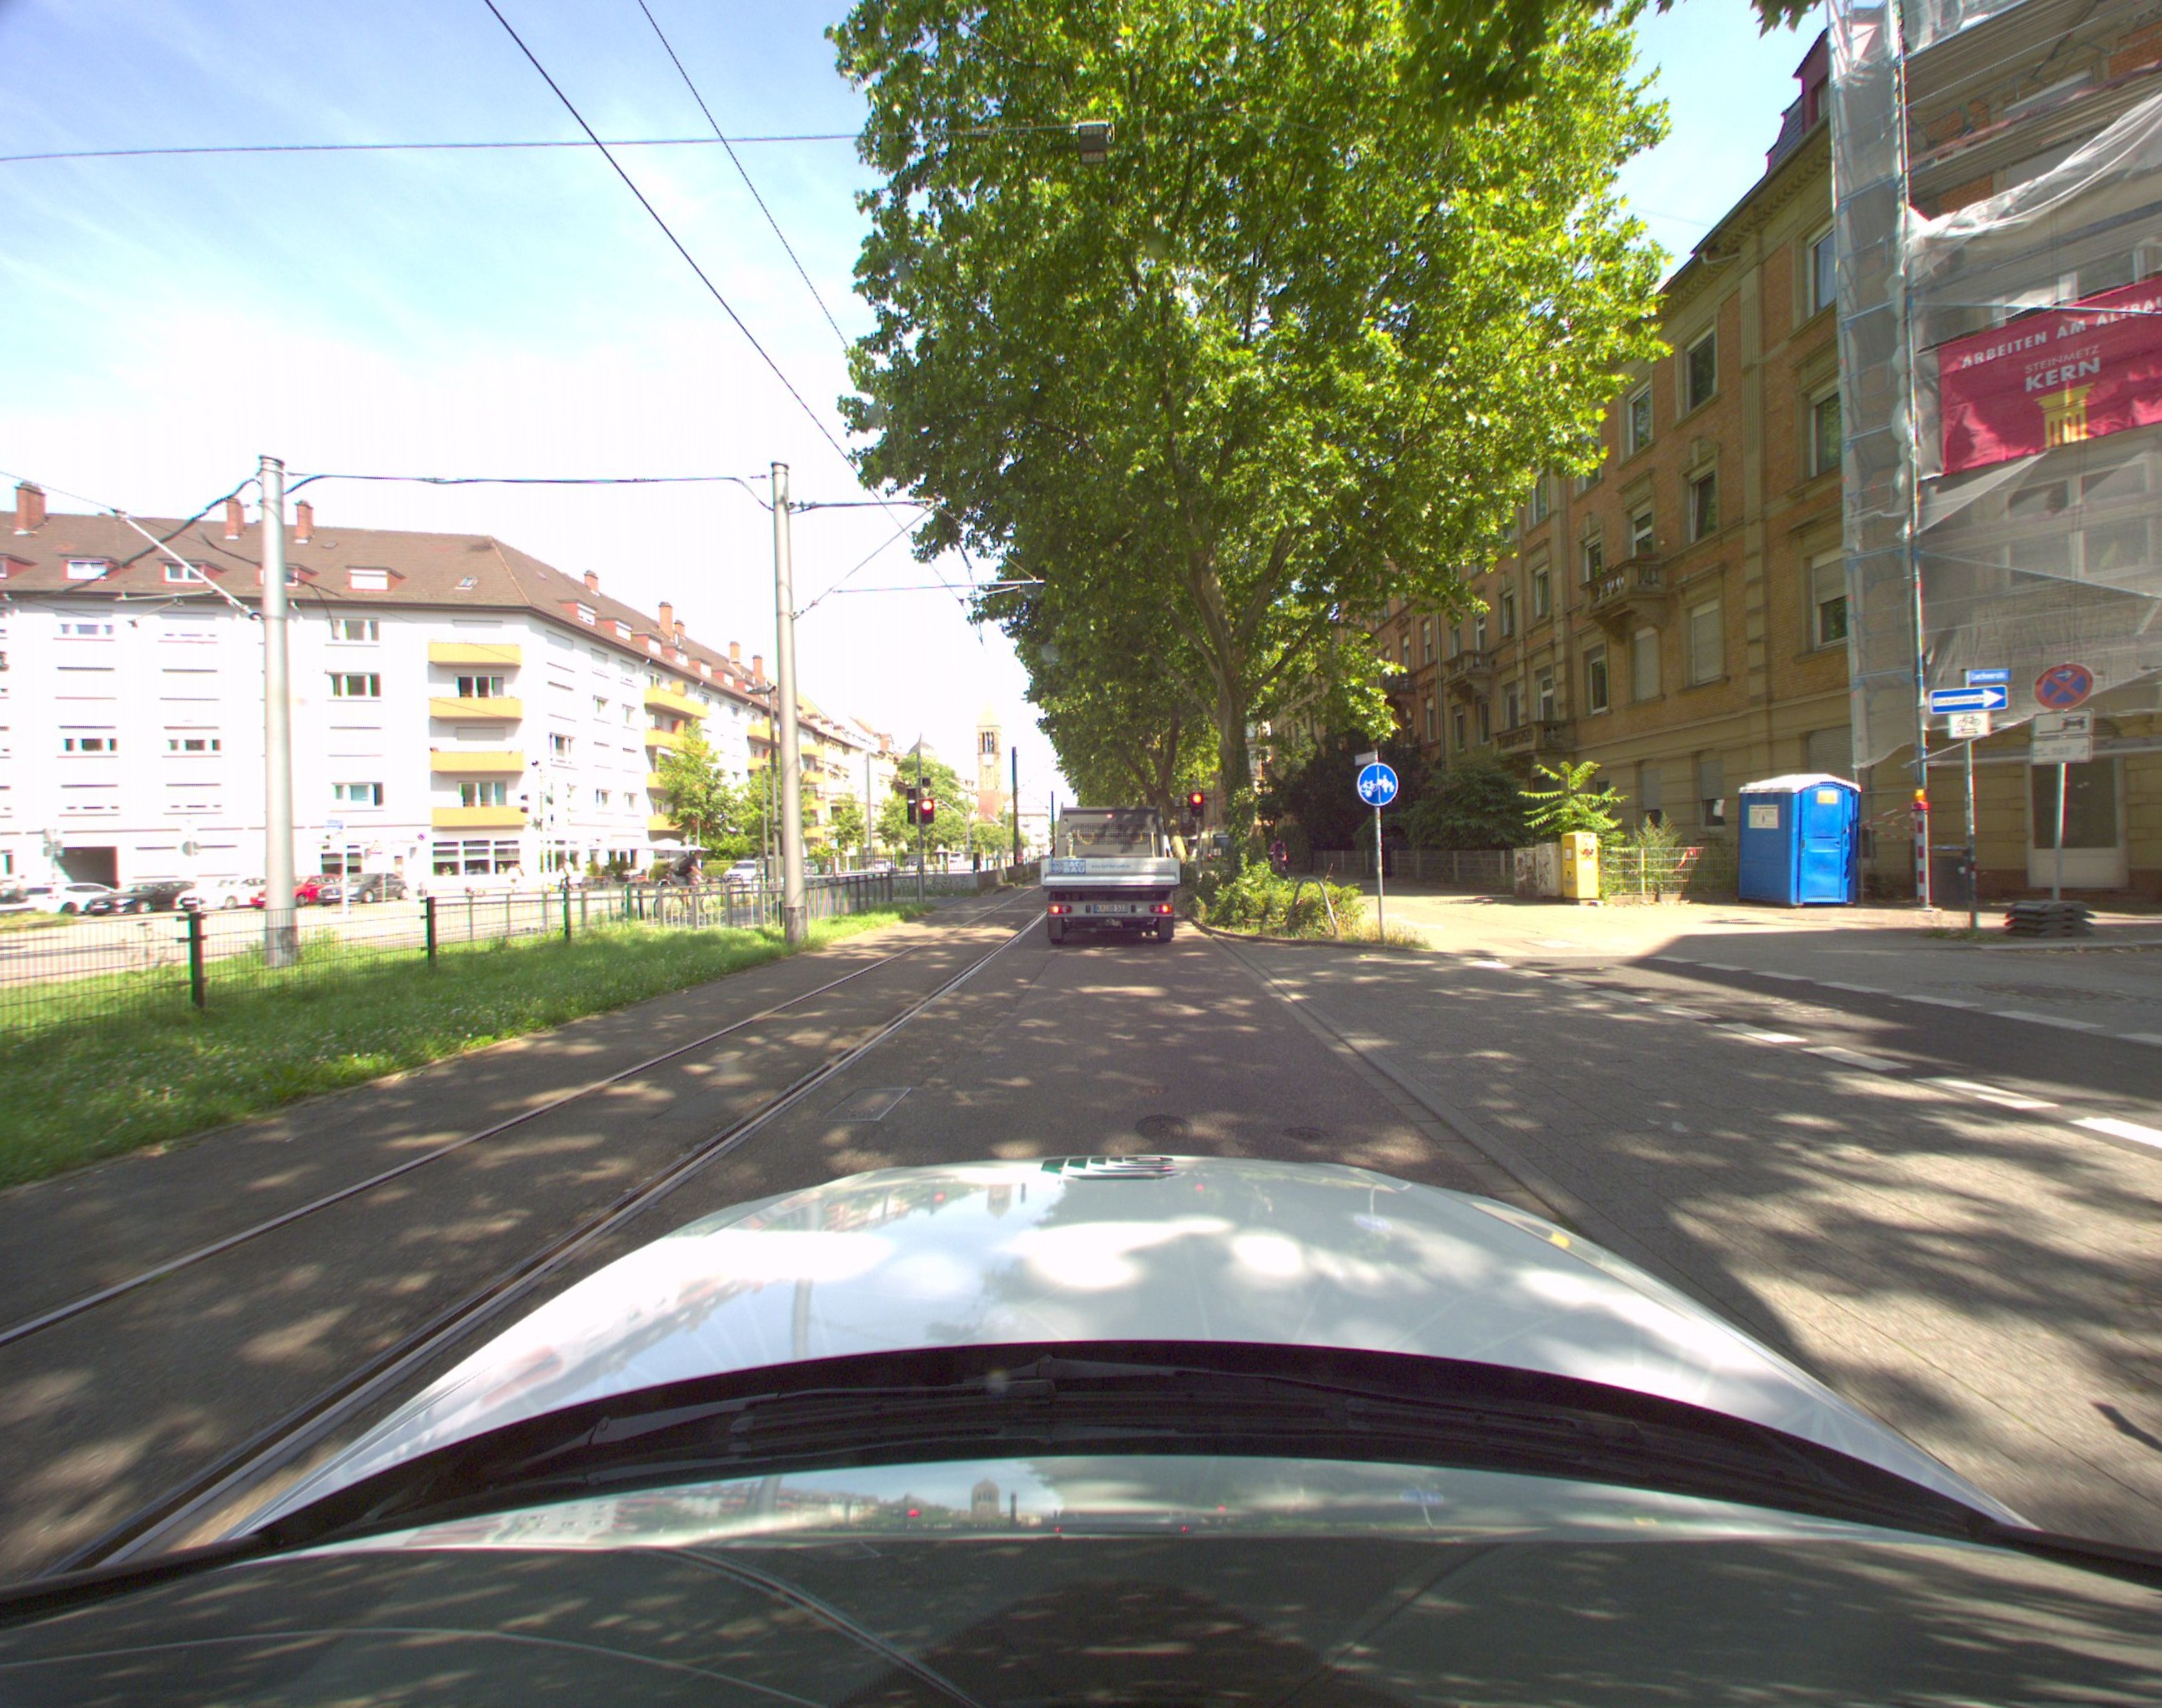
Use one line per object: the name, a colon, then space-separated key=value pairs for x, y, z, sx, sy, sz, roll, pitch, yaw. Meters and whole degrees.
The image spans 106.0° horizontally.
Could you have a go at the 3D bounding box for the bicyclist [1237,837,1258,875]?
bicyclist: x=6.961 y=0.083 z=34.096 sx=0.678 sy=1.563 sz=0.777 roll=-2 pitch=0 yaw=2

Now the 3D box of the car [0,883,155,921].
car: x=-44.467 y=2.080 z=36.230 sx=1.930 sy=1.406 sz=4.158 roll=-2 pitch=0 yaw=-6

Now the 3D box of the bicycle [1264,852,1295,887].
bicycle: x=6.755 y=0.504 z=27.763 sx=0.563 sy=1.112 sz=2.312 roll=-2 pitch=0 yaw=3

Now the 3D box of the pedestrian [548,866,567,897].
pedestrian: x=-27.055 y=1.419 z=42.116 sx=0.690 sy=1.572 sz=0.542 roll=-2 pitch=0 yaw=-23

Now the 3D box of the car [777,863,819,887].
car: x=-20.178 y=1.463 z=58.248 sx=1.767 sy=1.498 sz=3.994 roll=-3 pitch=0 yaw=-4

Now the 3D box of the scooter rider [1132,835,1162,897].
scooter rider: x=2.024 y=0.357 z=25.169 sx=0.668 sy=1.867 sz=0.660 roll=-2 pitch=-1 yaw=-17

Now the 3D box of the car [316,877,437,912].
car: x=-32.995 y=1.862 z=38.350 sx=1.830 sy=1.376 sz=4.637 roll=-2 pitch=0 yaw=-4

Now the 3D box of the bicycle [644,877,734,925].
bicycle: x=-9.526 y=1.116 z=19.838 sx=1.929 sy=1.049 sz=0.528 roll=-2 pitch=0 yaw=-25

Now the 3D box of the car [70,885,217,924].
car: x=-41.689 y=2.208 z=36.387 sx=1.930 sy=1.406 sz=4.158 roll=-2 pitch=0 yaw=-6

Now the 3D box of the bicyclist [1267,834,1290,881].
bicyclist: x=6.756 y=0.116 z=27.849 sx=0.635 sy=1.573 sz=0.580 roll=-2 pitch=0 yaw=3

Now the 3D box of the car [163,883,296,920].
car: x=-39.136 y=2.146 z=37.596 sx=1.930 sy=1.406 sz=4.158 roll=-2 pitch=0 yaw=-6

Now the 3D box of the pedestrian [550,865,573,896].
pedestrian: x=-27.243 y=1.392 z=42.724 sx=0.861 sy=1.572 sz=0.685 roll=-2 pitch=0 yaw=-23

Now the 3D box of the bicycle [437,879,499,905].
bicycle: x=-29.933 y=1.833 z=39.820 sx=0.908 sy=1.137 sz=2.807 roll=-2 pitch=0 yaw=-2

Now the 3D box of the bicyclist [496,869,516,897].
bicyclist: x=-29.500 y=1.495 z=41.807 sx=0.624 sy=1.423 sz=0.587 roll=-2 pitch=0 yaw=-15

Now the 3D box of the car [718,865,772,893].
car: x=-20.443 y=1.480 z=49.653 sx=1.767 sy=1.498 sz=3.994 roll=-3 pitch=0 yaw=-4

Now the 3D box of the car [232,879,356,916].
car: x=-36.352 y=1.973 z=37.770 sx=1.930 sy=1.406 sz=4.158 roll=-2 pitch=0 yaw=-6

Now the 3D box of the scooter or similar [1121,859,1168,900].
scooter or similar: x=1.955 y=0.764 z=25.139 sx=1.269 sy=1.204 sz=0.653 roll=-2 pitch=0 yaw=-17

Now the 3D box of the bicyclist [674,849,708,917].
bicyclist: x=-9.501 y=0.694 z=19.851 sx=0.696 sy=1.623 sz=0.619 roll=-2 pitch=0 yaw=-25

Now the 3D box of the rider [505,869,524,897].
rider: x=-29.580 y=1.513 z=42.532 sx=0.624 sy=1.423 sz=0.587 roll=-2 pitch=0 yaw=-15

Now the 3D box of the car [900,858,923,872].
car: x=-19.402 y=1.222 z=93.405 sx=1.764 sy=1.498 sz=4.000 roll=-2 pitch=0 yaw=0

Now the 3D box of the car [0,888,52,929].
car: x=-40.577 y=2.043 z=29.458 sx=3.748 sy=1.406 sz=1.824 roll=-2 pitch=0 yaw=-15

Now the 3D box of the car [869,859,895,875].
car: x=-19.522 y=1.238 z=80.035 sx=1.767 sy=1.498 sz=3.994 roll=-2 pitch=0 yaw=-4

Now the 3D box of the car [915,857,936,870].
car: x=-19.338 y=1.211 z=101.246 sx=1.764 sy=1.498 sz=4.000 roll=-2 pitch=0 yaw=0

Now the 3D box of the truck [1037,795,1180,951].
truck: x=0.513 y=0.272 z=14.350 sx=2.130 sy=2.319 sz=4.404 roll=0 pitch=0 yaw=2
